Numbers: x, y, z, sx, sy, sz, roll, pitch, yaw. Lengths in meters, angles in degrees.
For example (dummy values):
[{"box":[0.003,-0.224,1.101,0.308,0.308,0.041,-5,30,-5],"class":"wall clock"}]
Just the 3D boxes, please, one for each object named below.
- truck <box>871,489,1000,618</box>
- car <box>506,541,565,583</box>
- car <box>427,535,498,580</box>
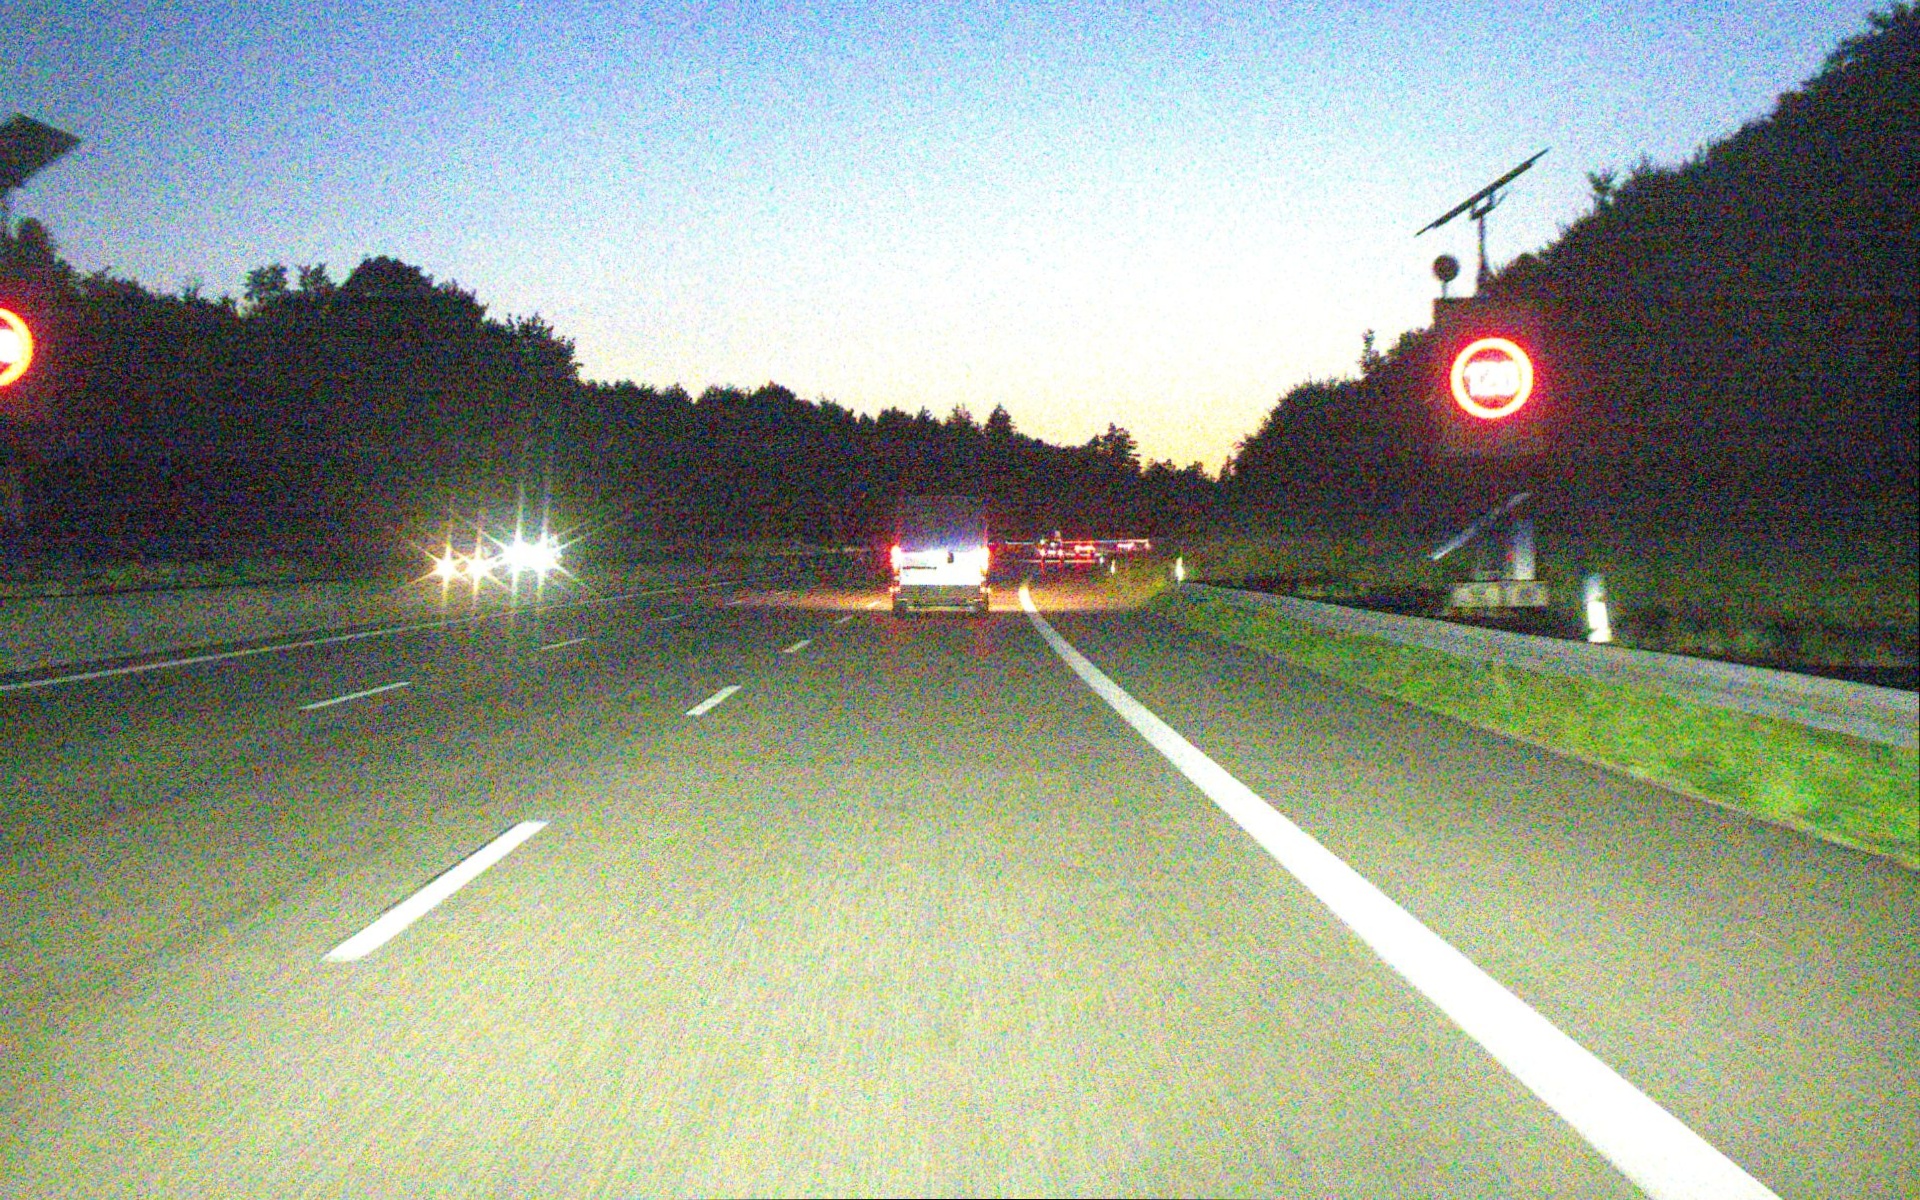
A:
[{"box":[-0.546,-0.986,74.872,2.630,2.615,8.685,1,0,-1],"class":"truck"},{"box":[-21.056,-1.871,170.760,2.026,2.007,5.186,1,0,3],"class":"car"},{"box":[-18.352,-1.566,126.948,1.993,1.597,4.213,1,0,0],"class":"car"}]
